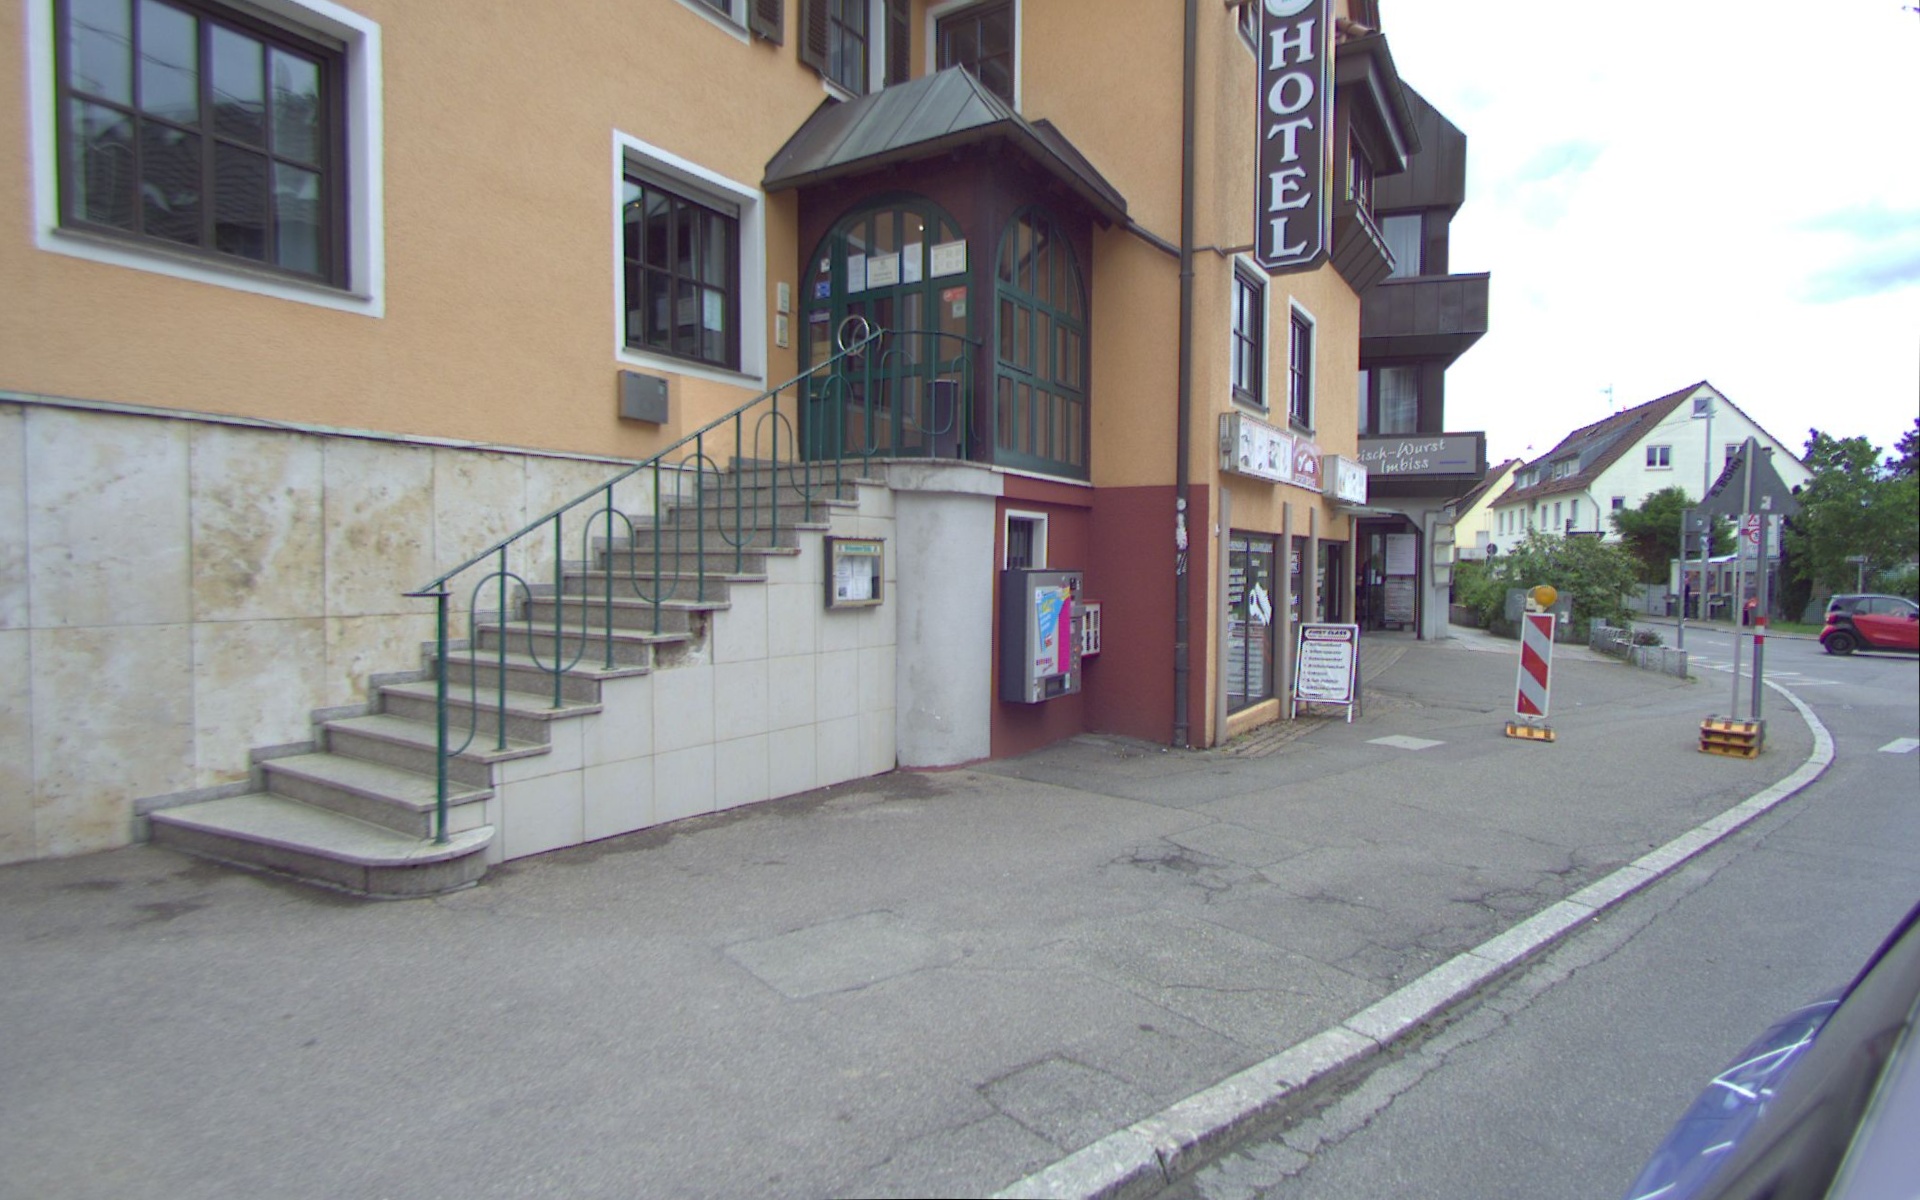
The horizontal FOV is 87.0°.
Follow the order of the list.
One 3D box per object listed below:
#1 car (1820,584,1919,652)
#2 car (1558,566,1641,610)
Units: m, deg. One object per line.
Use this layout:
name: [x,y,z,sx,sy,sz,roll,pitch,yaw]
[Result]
car: [23.074,0.430,24.841,2.928,1.539,1.793,3,2,41]
car: [29.886,-0.608,47.446,1.971,1.900,4.374,2,2,15]
